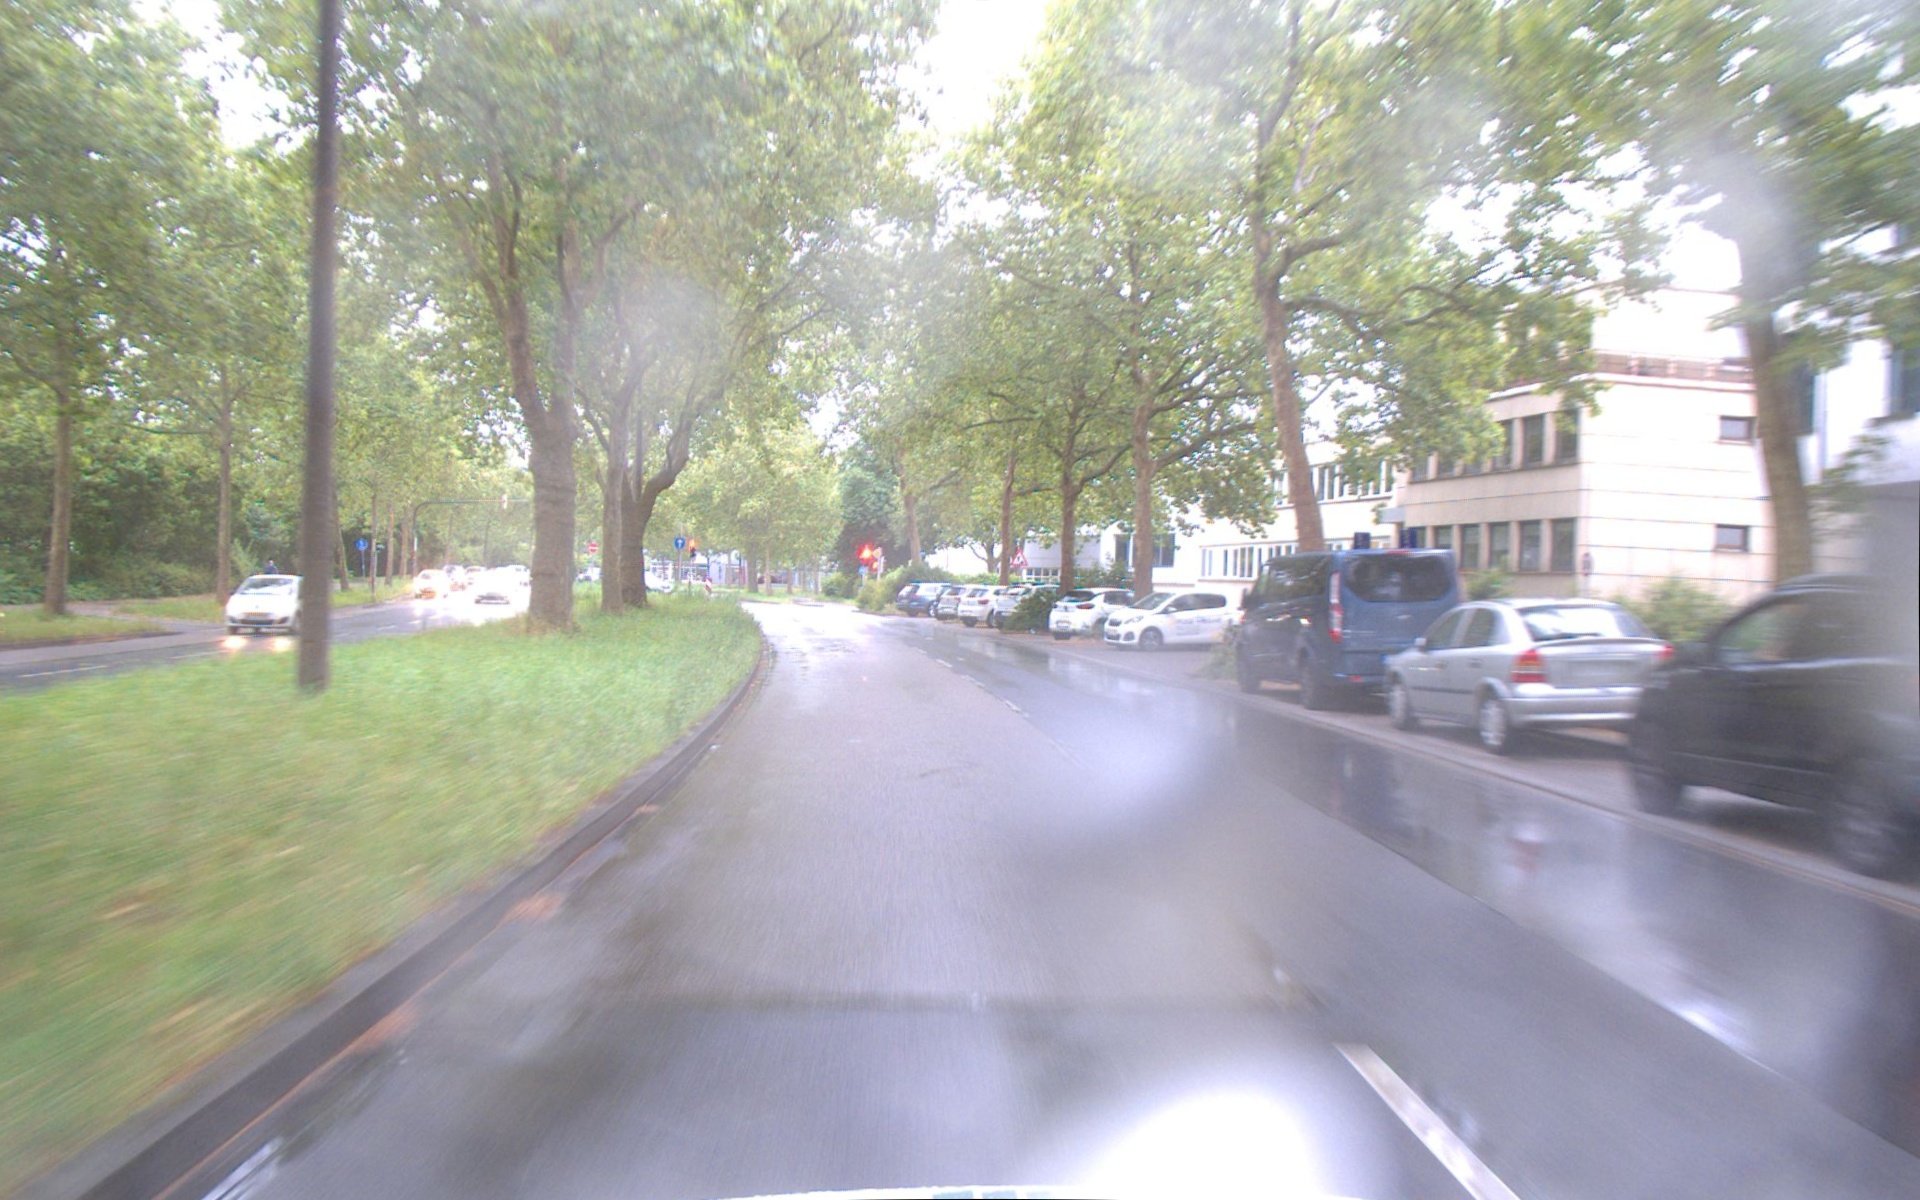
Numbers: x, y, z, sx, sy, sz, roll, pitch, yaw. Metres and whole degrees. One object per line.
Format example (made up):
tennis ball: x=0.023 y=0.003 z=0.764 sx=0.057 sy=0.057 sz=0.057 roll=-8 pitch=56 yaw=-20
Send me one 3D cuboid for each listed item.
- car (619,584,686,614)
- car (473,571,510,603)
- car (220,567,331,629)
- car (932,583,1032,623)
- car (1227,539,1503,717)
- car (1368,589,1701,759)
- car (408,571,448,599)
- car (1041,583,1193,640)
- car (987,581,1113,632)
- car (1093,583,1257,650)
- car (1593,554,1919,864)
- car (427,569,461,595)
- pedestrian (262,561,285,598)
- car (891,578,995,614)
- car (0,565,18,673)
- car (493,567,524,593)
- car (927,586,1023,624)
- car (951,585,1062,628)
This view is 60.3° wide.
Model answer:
car: x=-18.292 y=-0.049 z=98.297 sx=4.231 sy=1.679 sz=1.738 roll=2 pitch=0 yaw=43
car: x=-23.578 y=-0.653 z=83.350 sx=1.715 sy=1.502 sz=4.391 roll=1 pitch=0 yaw=-16
car: x=-17.610 y=-0.066 z=42.700 sx=1.711 sy=1.485 sz=3.835 roll=1 pitch=0 yaw=-8
car: x=0.867 y=0.120 z=64.442 sx=3.656 sy=1.441 sz=1.751 roll=1 pitch=0 yaw=-39
car: x=5.252 y=0.324 z=22.369 sx=2.079 sy=2.063 sz=5.524 roll=1 pitch=0 yaw=-3
car: x=5.712 y=0.659 z=17.048 sx=1.709 sy=1.495 sz=4.303 roll=1 pitch=0 yaw=-3
car: x=-29.579 y=-0.835 z=92.079 sx=1.713 sy=1.502 sz=4.070 roll=1 pitch=0 yaw=-12
car: x=4.257 y=0.316 z=44.587 sx=3.998 sy=1.453 sz=1.725 roll=1 pitch=0 yaw=-39
car: x=2.961 y=0.217 z=53.908 sx=4.001 sy=1.566 sz=1.724 roll=1 pitch=0 yaw=-41
car: x=5.241 y=0.401 z=40.380 sx=3.585 sy=1.531 sz=1.737 roll=1 pitch=1 yaw=-23
car: x=5.713 y=0.569 z=10.221 sx=1.709 sy=1.594 sz=4.369 roll=1 pitch=0 yaw=-3
car: x=-33.836 y=-1.209 z=108.511 sx=1.713 sy=1.619 sz=4.197 roll=1 pitch=1 yaw=-12
pedestrian: x=-31.833 y=-0.956 z=76.654 sx=0.816 sy=1.703 sz=0.896 roll=1 pitch=0 yaw=-14
car: x=-0.736 y=-0.179 z=73.315 sx=4.444 sy=1.484 sz=1.728 roll=1 pitch=0 yaw=-35
car: x=-14.887 y=0.270 z=22.685 sx=1.709 sy=1.588 sz=4.364 roll=1 pitch=0 yaw=-5
car: x=-29.803 y=-1.296 z=109.175 sx=1.713 sy=1.619 sz=4.317 roll=1 pitch=0 yaw=-12
car: x=0.622 y=0.204 z=67.716 sx=3.656 sy=1.441 sz=1.725 roll=1 pitch=0 yaw=-39
car: x=1.677 y=0.252 z=58.963 sx=3.650 sy=1.441 sz=1.728 roll=1 pitch=0 yaw=-35
